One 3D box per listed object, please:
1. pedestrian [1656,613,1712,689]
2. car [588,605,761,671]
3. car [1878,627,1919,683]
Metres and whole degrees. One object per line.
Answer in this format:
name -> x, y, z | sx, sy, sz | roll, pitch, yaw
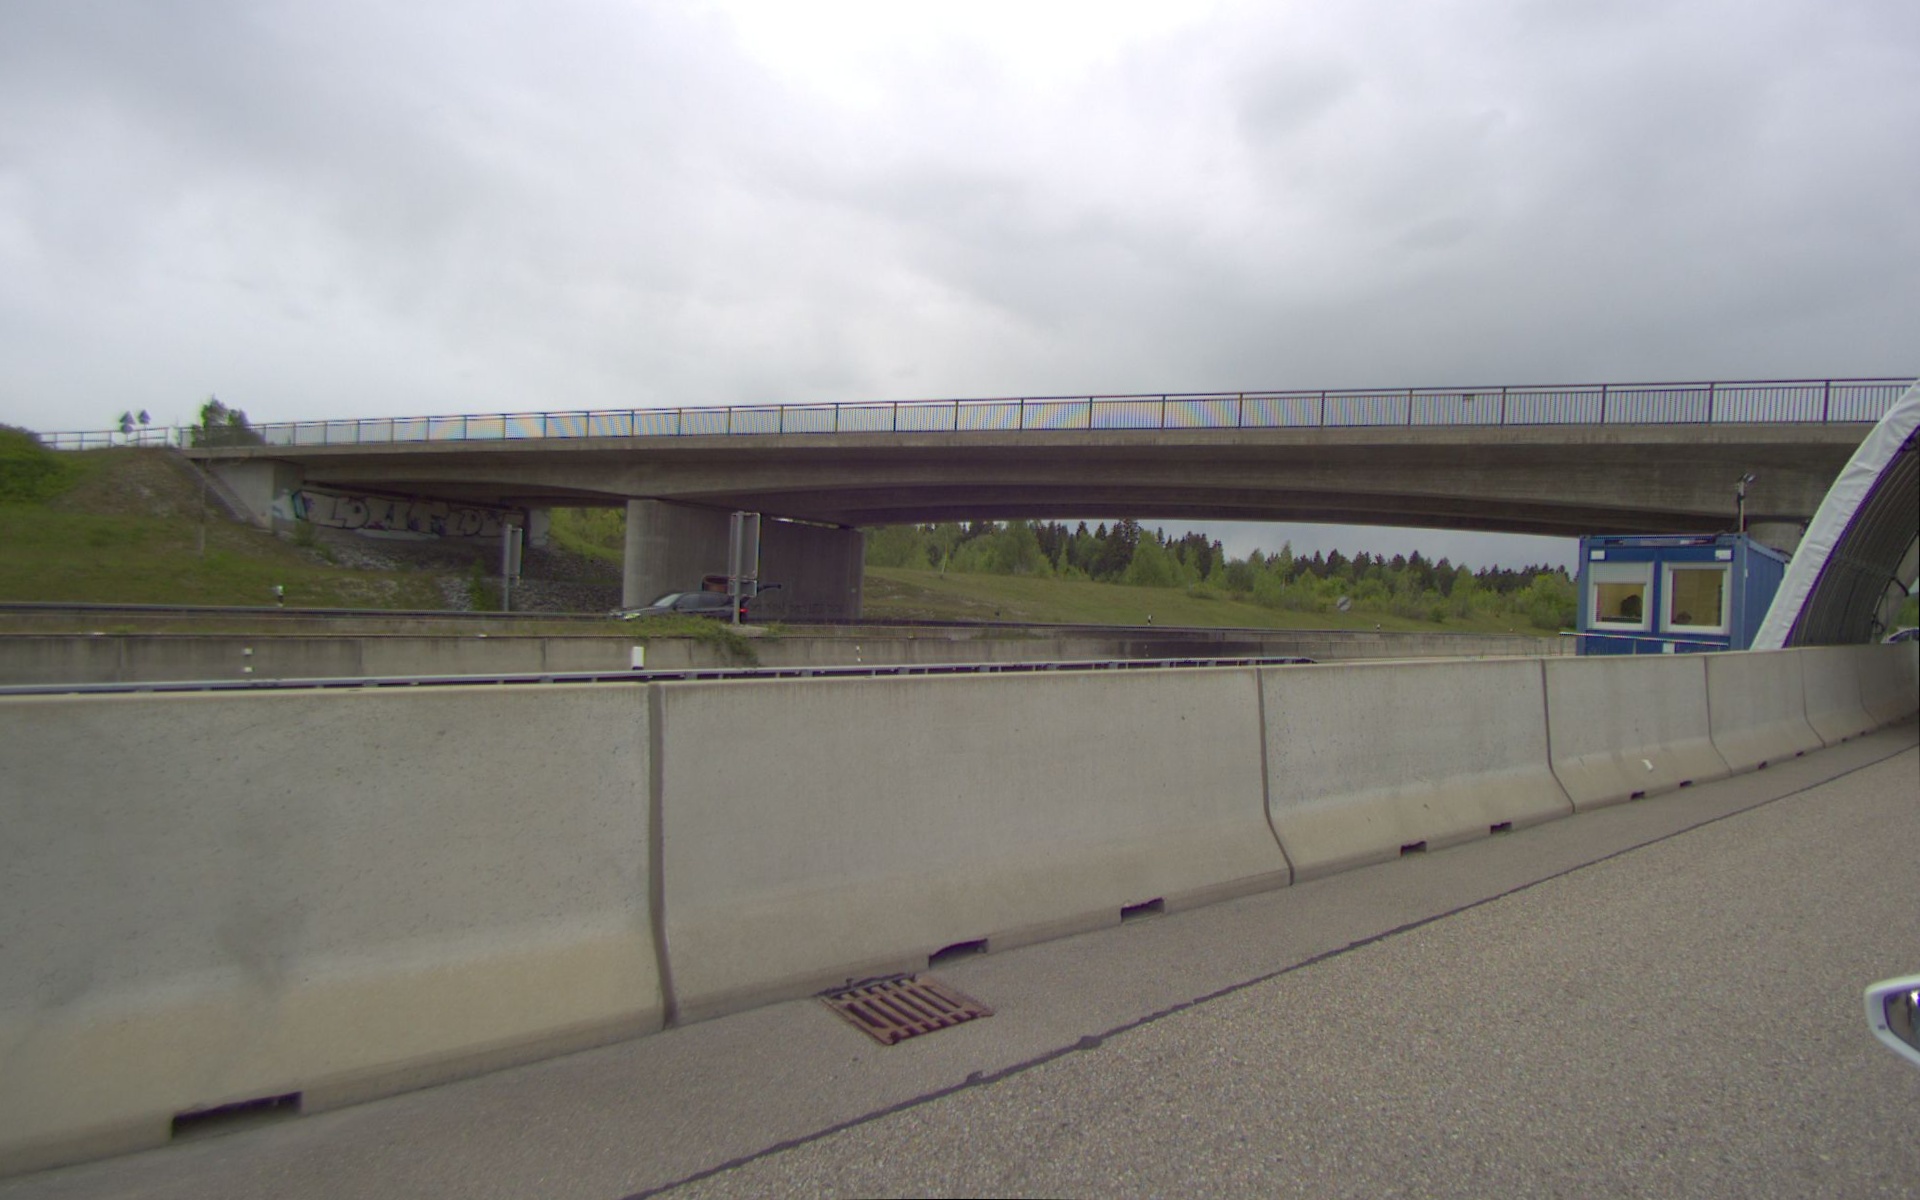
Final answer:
pedestrian -> 13.636, 0.955, 18.924 | 0.618, 1.391, 0.609 | 2, -1, -21
car -> -9.116, 1.219, 32.444 | 1.964, 1.981, 5.079 | 0, -2, 44
car -> 36.697, 2.048, 36.376 | 1.814, 2.040, 4.797 | 2, -1, -22
